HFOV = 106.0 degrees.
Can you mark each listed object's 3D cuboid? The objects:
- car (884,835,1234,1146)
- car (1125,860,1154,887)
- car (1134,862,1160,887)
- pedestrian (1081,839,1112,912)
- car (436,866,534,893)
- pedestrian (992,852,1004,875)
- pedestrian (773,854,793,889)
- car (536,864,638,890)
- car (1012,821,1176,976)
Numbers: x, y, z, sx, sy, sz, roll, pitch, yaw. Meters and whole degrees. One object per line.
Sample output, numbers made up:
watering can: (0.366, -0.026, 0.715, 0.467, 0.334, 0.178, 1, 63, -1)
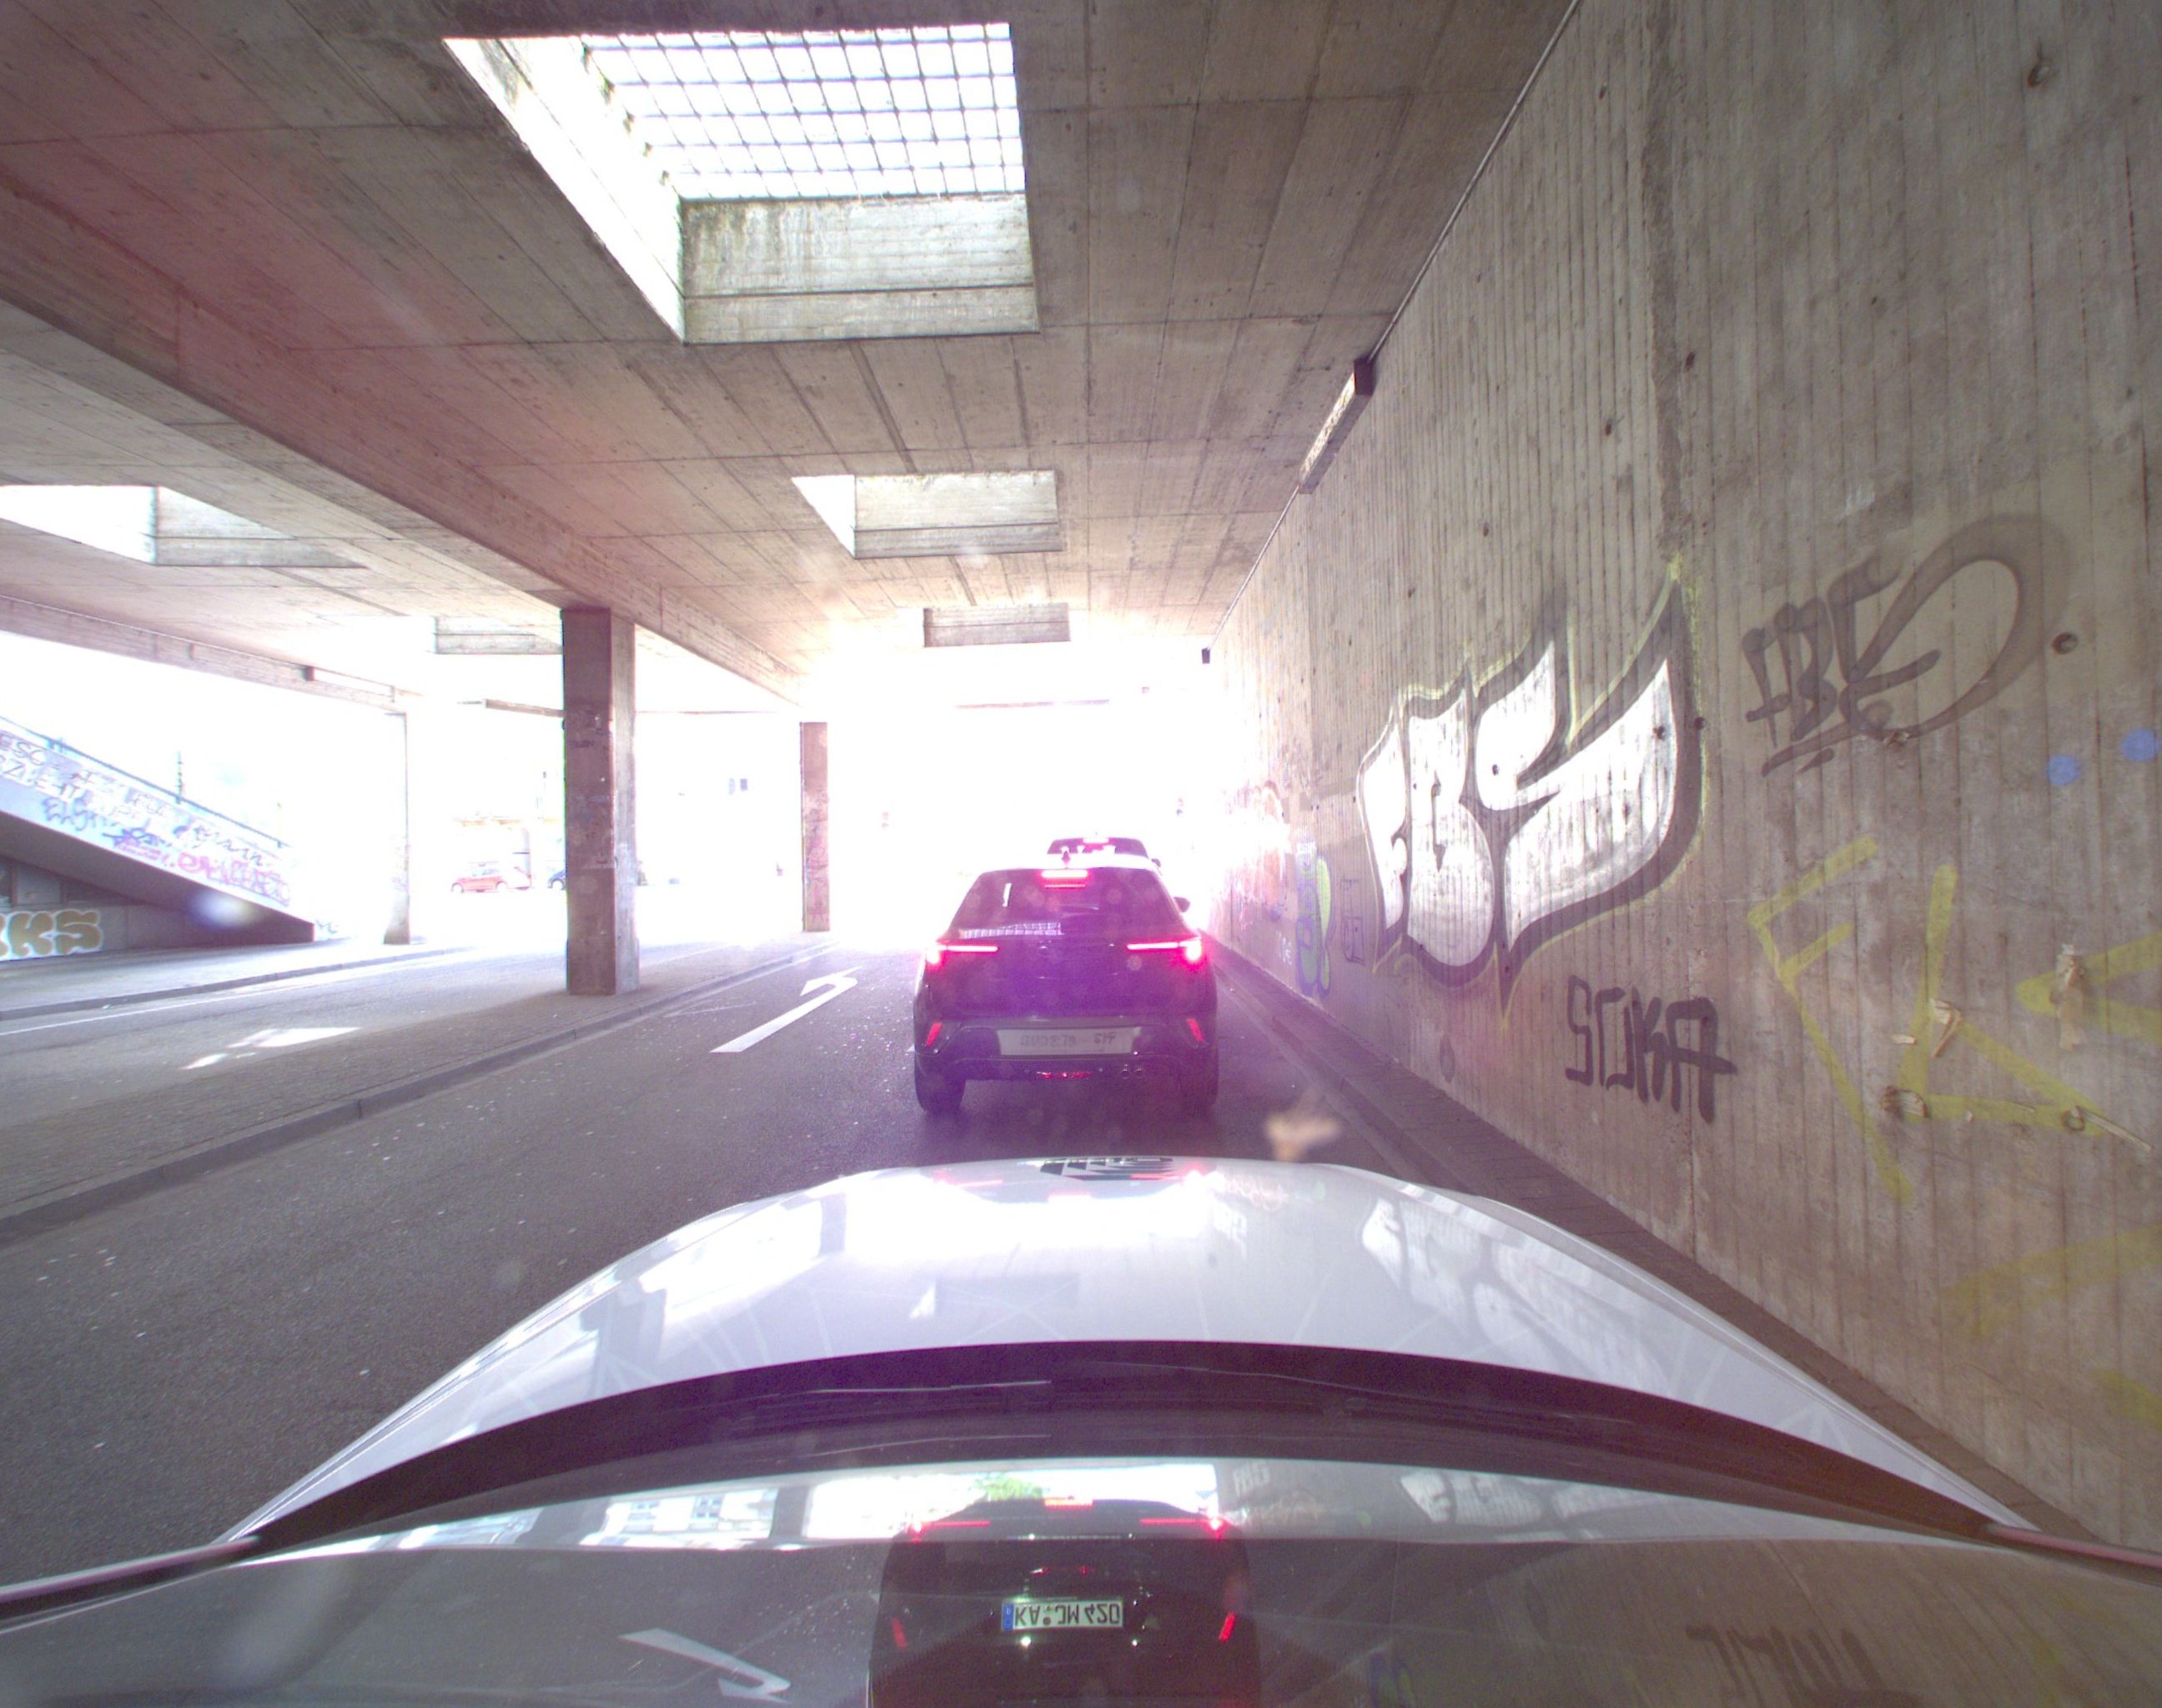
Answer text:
car: (-0.049, 0.655, 6.114, 1.758, 1.571, 4.002, 0, 1, 2)
car: (4.513, 1.450, 62.350, 1.983, 1.970, 4.172, 0, -1, 7)
car: (5.581, 1.687, 68.722, 1.983, 1.970, 4.172, 0, -1, 7)
pedestrian: (0.378, 0.521, 19.997, 0.728, 1.734, 0.874, 0, -1, 1)
car: (-33.042, 1.414, 45.218, 3.975, 1.409, 1.925, 0, -1, -1)
pedestrian: (-7.508, 0.842, 73.944, 0.887, 2.088, 0.810, 0, -1, 9)
pedestrian: (-14.064, 0.806, 38.472, 0.669, 1.637, 0.741, 0, -1, 1)
car: (-27.300, 1.261, 45.118, 4.393, 1.409, 1.925, 0, -1, -1)
car: (0.227, 0.545, 12.101, 1.986, 1.871, 4.002, -2, 0, 2)
